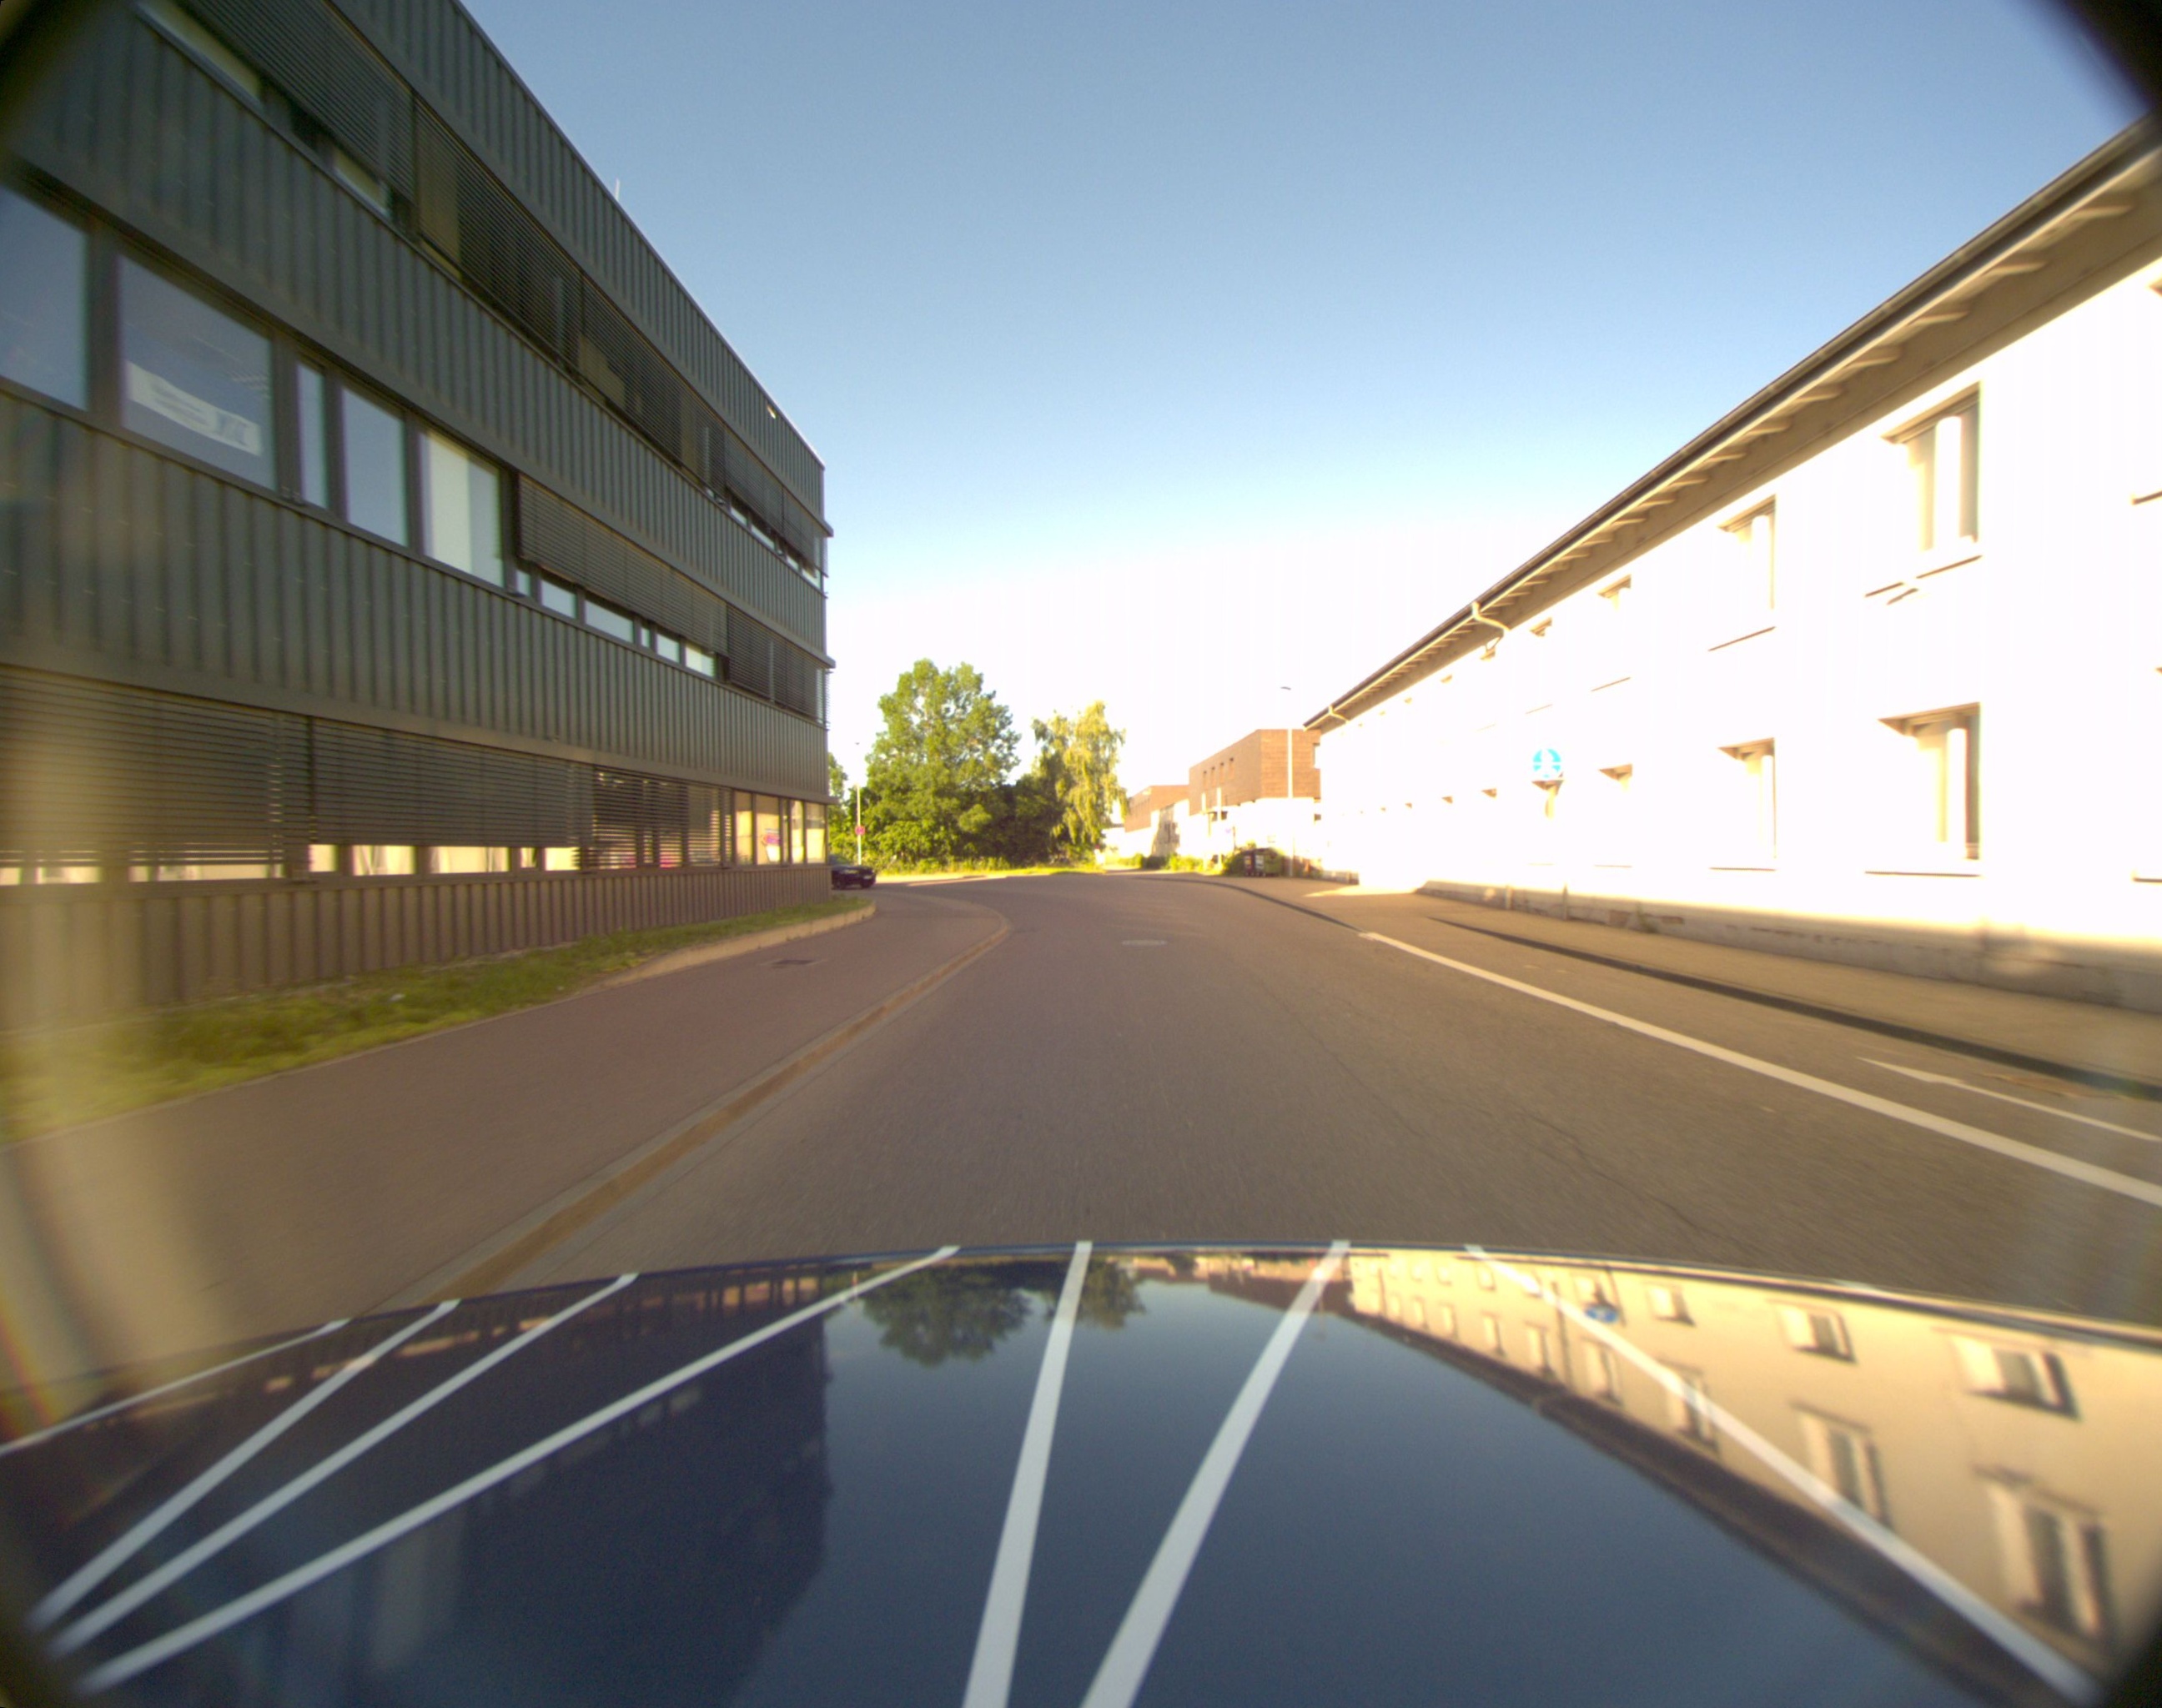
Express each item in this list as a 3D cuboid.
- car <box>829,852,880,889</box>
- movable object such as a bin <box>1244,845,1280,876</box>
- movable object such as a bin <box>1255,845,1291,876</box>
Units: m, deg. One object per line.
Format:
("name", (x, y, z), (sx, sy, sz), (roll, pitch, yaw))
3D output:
("car", (-11.178, 0.729, 37.304), (2.040, 1.623, 4.605), (-2, 1, -20))
("movable object such as a bin", (8.945, 0.296, 37.629), (1.365, 1.463, 1.288), (-1, 1, -8))
("movable object such as a bin", (9.140, 0.302, 36.258), (1.202, 1.463, 1.372), (-1, 1, -8))
